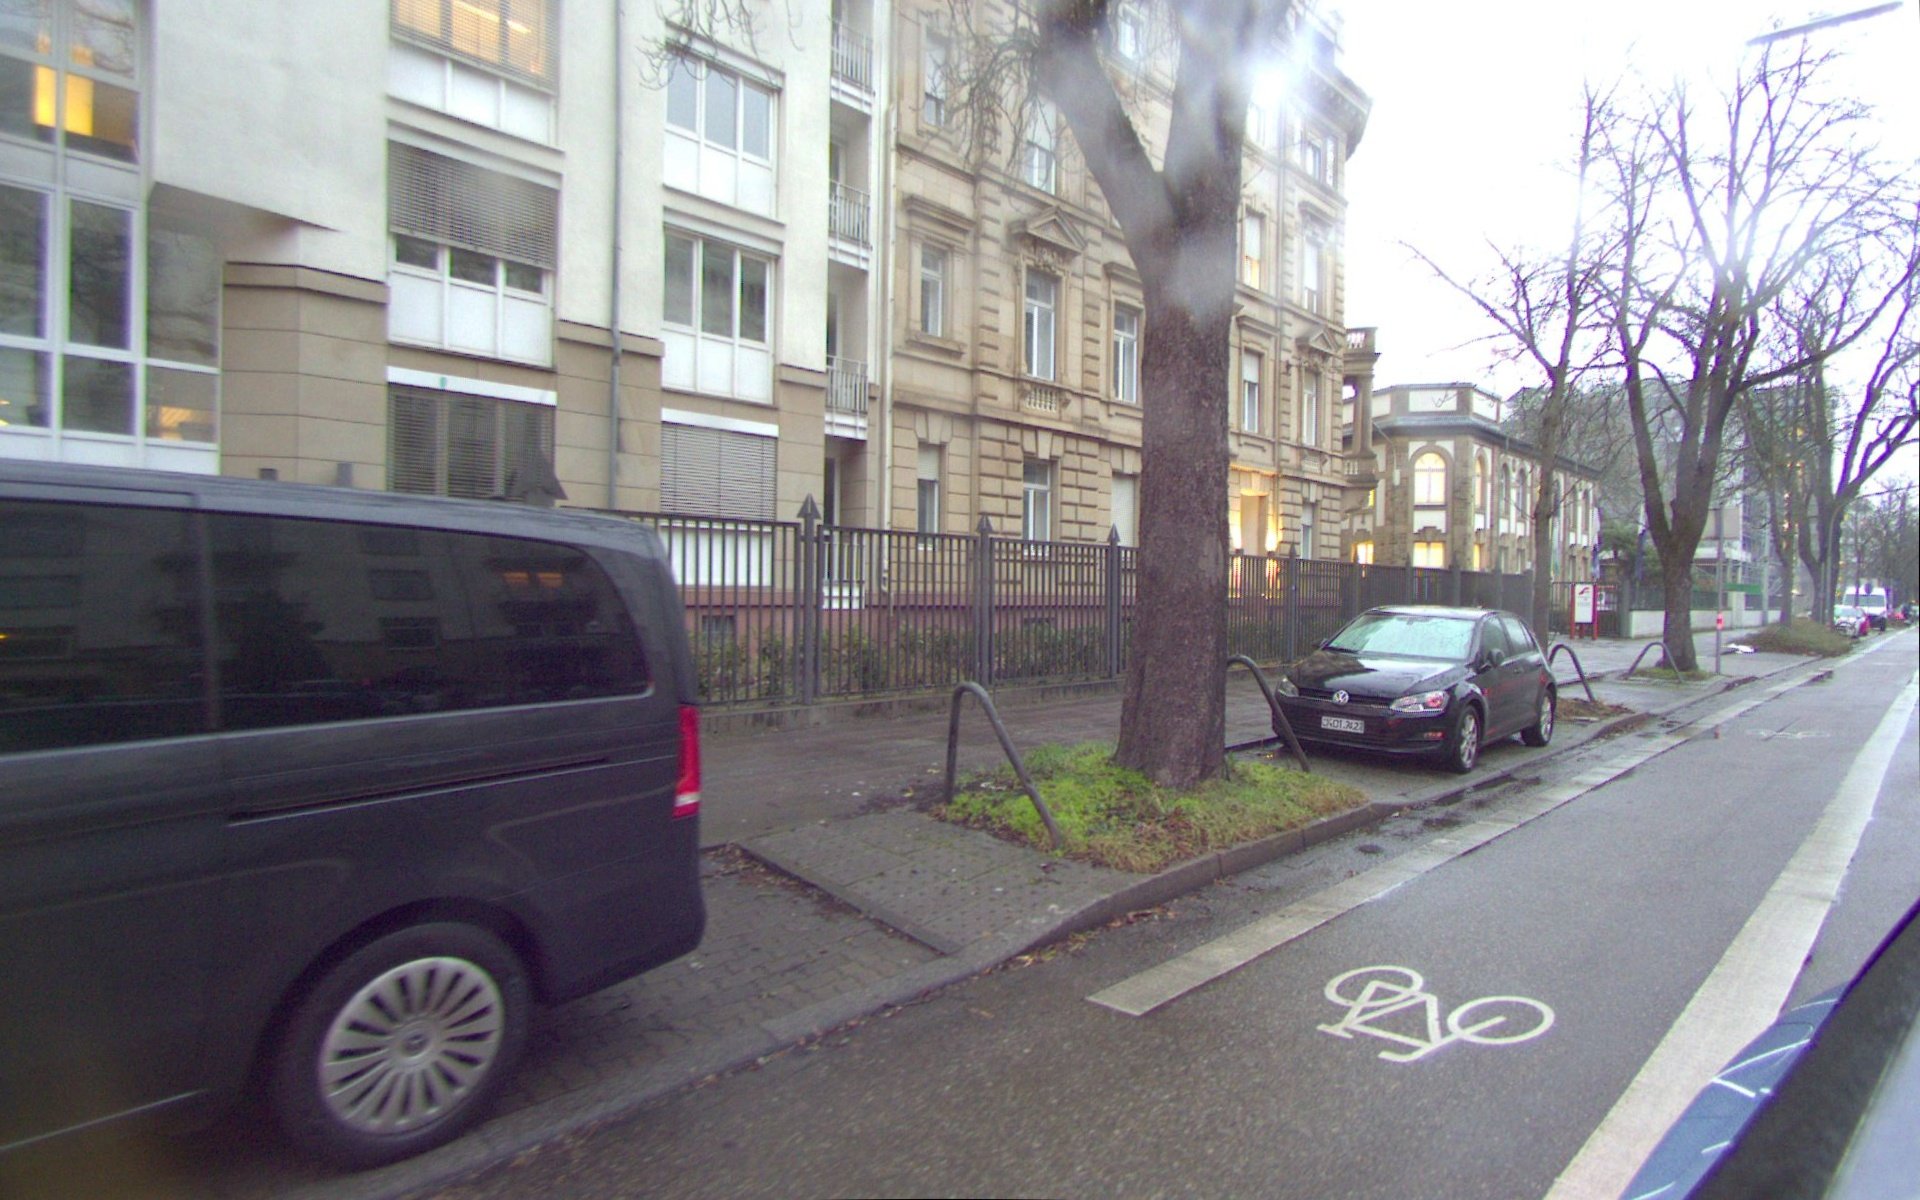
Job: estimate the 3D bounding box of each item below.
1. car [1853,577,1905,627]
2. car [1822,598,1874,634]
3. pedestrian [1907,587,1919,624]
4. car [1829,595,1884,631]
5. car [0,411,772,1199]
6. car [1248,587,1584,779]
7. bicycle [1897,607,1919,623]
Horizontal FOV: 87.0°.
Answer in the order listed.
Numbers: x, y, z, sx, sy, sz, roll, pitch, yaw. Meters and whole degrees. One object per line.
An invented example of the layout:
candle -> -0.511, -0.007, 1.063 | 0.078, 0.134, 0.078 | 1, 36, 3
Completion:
car -> 51.996, 0.066, 57.285 | 2.086, 2.670, 5.366 | 0, 1, 42
car -> 38.210, 0.641, 43.520 | 1.623, 1.425, 3.939 | 0, 1, 42
pedestrian -> 60.206, 0.341, 63.547 | 1.115, 2.287, 0.938 | 0, 0, 43
car -> 45.064, 0.595, 50.858 | 1.993, 1.703, 3.939 | 0, 1, 42
car -> -3.088, 0.528, 2.433 | 4.882, 1.899, 2.032 | 0, 1, -45
car -> 4.743, 0.673, 10.220 | 1.758, 1.463, 4.091 | 4, 2, 44
bicycle -> 60.169, 0.937, 63.585 | 1.913, 1.004, 0.845 | 0, 1, 44
